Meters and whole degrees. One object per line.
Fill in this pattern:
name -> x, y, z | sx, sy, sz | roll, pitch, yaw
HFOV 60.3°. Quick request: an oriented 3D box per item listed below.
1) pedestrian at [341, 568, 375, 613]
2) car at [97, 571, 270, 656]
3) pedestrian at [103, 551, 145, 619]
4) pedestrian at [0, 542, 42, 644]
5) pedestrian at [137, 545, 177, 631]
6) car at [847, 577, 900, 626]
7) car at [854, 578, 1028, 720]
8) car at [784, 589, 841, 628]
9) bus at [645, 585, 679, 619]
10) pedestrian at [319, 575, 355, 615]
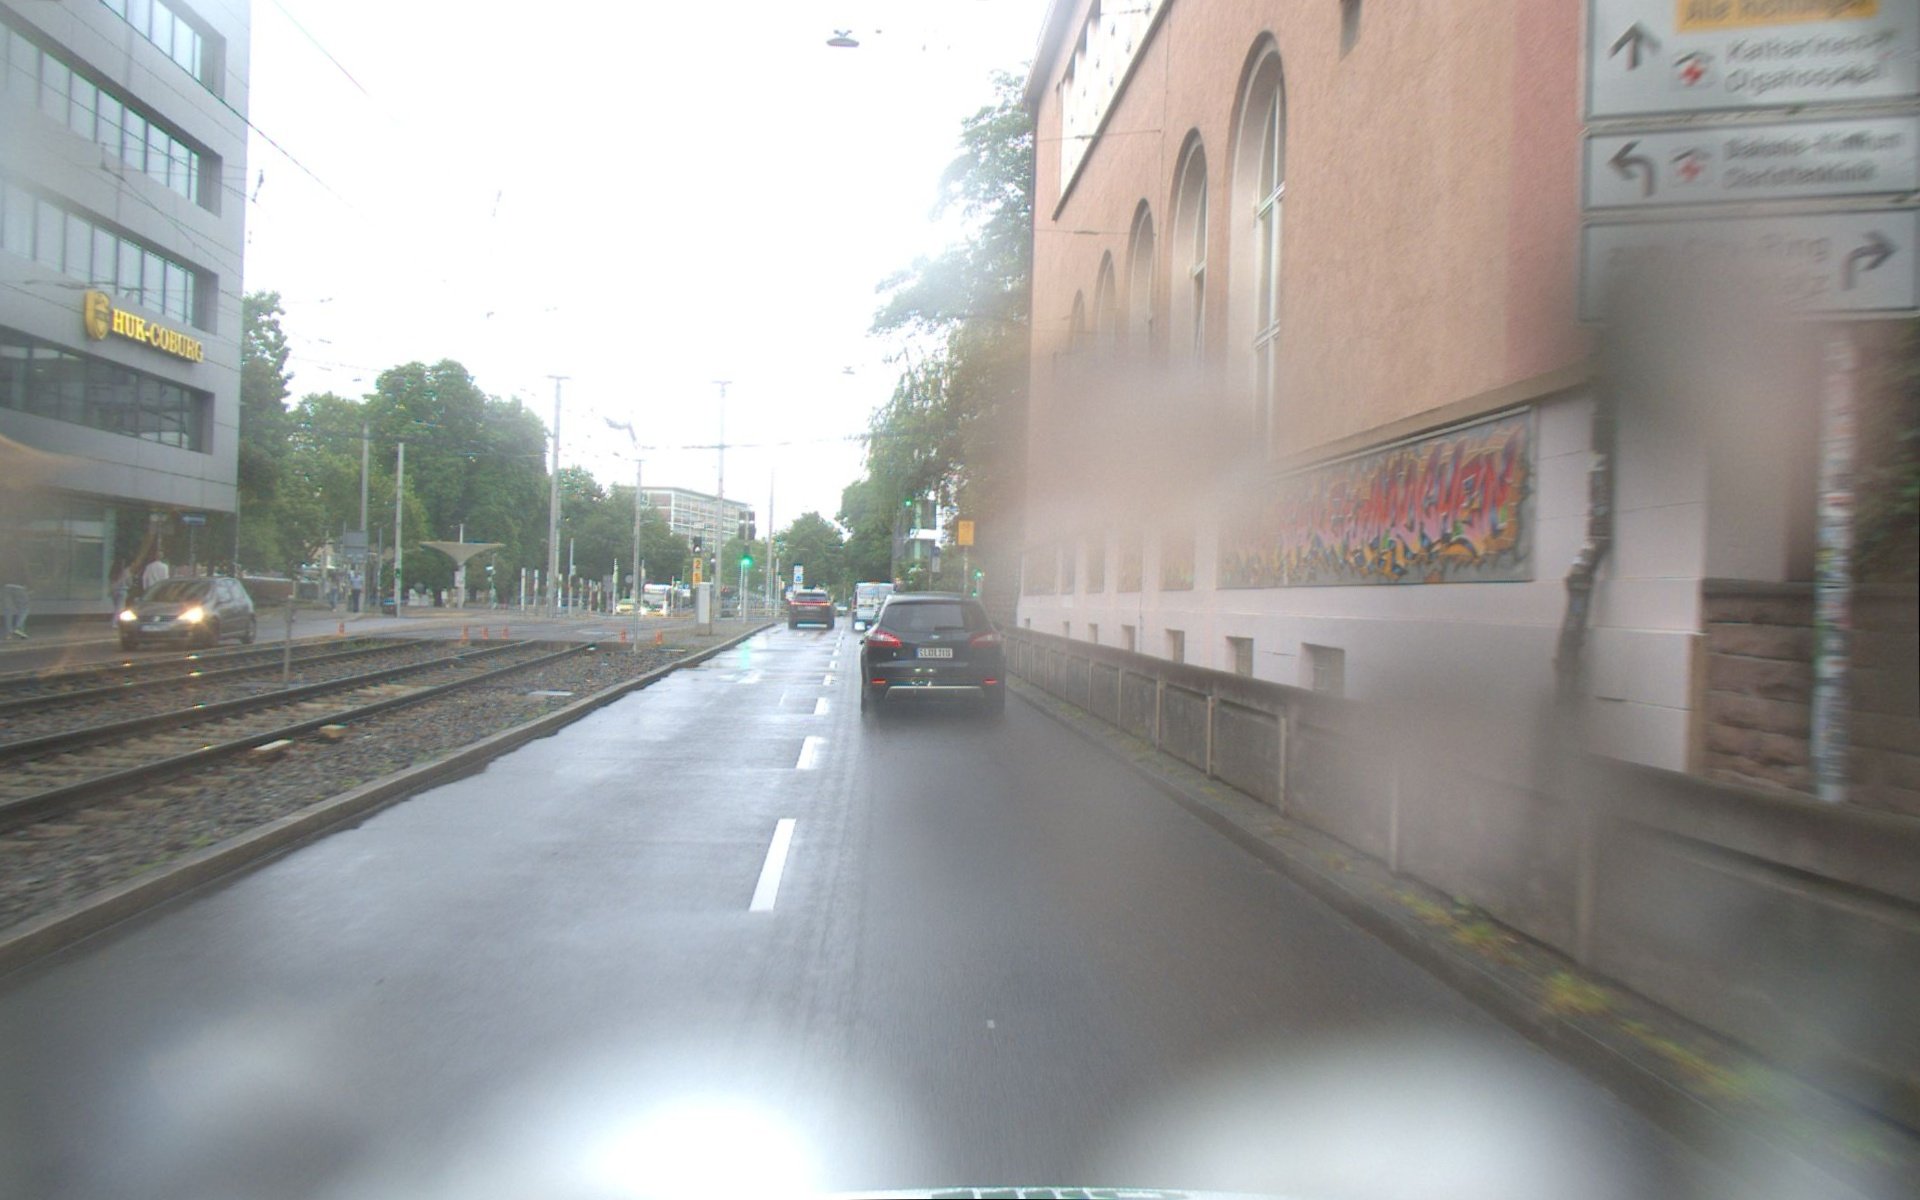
pedestrian -> -26.520, -0.416, 72.850 | 0.979, 1.895, 0.914 | 3, -1, 17
car -> -15.811, 0.250, 33.925 | 1.903, 1.563, 4.342 | -2, 0, -7
pedestrian -> -20.531, -0.363, 40.612 | 0.574, 1.622, 0.636 | 3, -1, 13
pedestrian -> -19.405, -0.152, 33.879 | 0.648, 2.049, 0.810 | 3, -1, -3
pedestrian -> -19.742, -0.295, 40.662 | 0.657, 2.049, 0.607 | 4, -1, -42
car -> -3.499, 0.032, 67.374 | 1.995, 1.872, 4.390 | 2, 0, -2
car -> -0.352, 0.559, 21.532 | 1.995, 1.612, 4.389 | 2, 0, -4
car -> -5.999, 0.353, 67.724 | 2.056, 1.532, 4.729 | 0, 0, -2
bus -> -30.506, 0.227, 169.789 | 3.019, 3.358, 12.499 | 0, 0, -8
pedestrian -> -26.115, -0.206, 69.354 | 0.979, 1.622, 0.914 | 3, -1, 12
